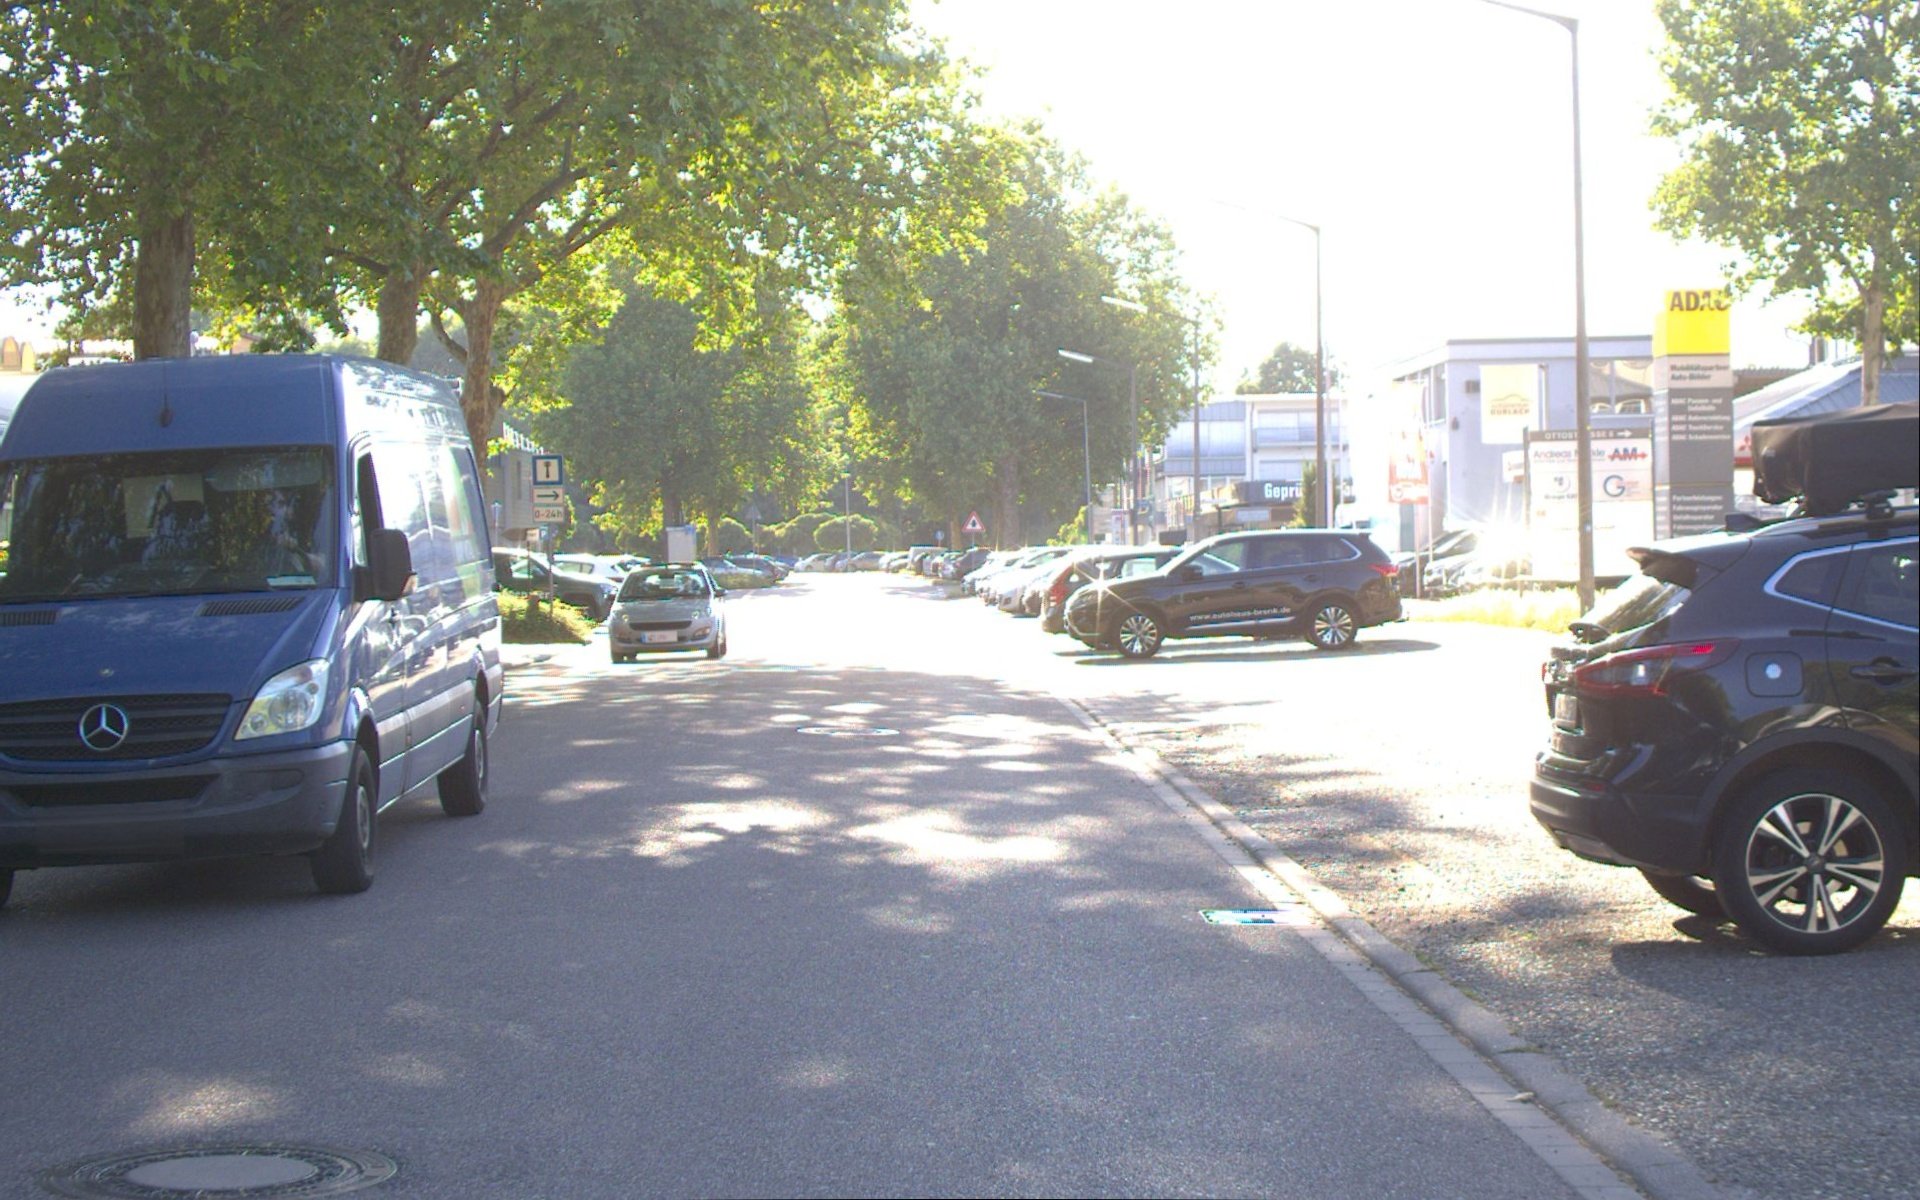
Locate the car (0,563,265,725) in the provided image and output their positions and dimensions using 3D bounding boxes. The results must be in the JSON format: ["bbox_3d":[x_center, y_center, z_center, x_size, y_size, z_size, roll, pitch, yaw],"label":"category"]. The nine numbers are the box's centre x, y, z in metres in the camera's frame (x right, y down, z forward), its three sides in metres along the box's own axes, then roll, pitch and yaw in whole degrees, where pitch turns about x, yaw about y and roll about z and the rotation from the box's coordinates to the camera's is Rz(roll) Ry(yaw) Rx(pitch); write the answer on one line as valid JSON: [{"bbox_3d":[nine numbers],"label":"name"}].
[{"bbox_3d":[-9.204,0.433,33.112,4.599,1.417,2.000,-1,2,-1],"label":"car"}]

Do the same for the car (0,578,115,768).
[{"bbox_3d":[-9.168,0.607,27.493,4.353,1.417,2.000,-1,2,-3],"label":"car"}]

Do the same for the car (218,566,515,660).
[{"bbox_3d":[-9.170,0.189,53.363,4.296,1.441,2.000,0,0,-1],"label":"car"}]

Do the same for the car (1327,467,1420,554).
[{"bbox_3d":[12.726,-2.719,106.109,1.993,2.616,6.138,0,1,-1],"label":"car"}]

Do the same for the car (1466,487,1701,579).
[{"bbox_3d":[13.047,-1.395,72.172,4.495,1.892,2.202,0,0,-1],"label":"car"}]

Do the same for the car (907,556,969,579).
[{"bbox_3d":[-1.452,-2.146,226.799,3.987,1.411,1.827,-2,1,-1],"label":"car"}]

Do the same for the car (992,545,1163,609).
[{"bbox_3d":[3.019,-0.597,88.834,4.241,1.599,1.746,0,1,-5],"label":"car"}]

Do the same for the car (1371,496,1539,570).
[{"bbox_3d":[13.368,-1.806,93.060,4.144,1.765,2.000,-3,1,-1],"label":"car"}]

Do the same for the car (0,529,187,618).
[{"bbox_3d":[-18.672,-0.549,71.586,4.745,1.813,2.000,0,1,-2],"label":"car"}]

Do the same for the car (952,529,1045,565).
[{"bbox_3d":[1.674,-2.330,151.723,3.987,1.411,2.000,-2,1,-1],"label":"car"}]

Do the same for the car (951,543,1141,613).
[{"bbox_3d":[1.863,-0.490,74.356,3.987,1.292,1.784,-3,1,2],"label":"car"}]

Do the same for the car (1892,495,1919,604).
[{"bbox_3d":[15.130,-0.703,47.329,3.986,1.492,2.000,0,1,-5],"label":"car"}]

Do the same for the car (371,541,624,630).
[{"bbox_3d":[-10.069,-0.319,75.166,5.259,1.892,2.202,0,0,-1],"label":"car"}]

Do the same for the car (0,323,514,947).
[{"bbox_3d":[-3.883,0.056,18.364,2.127,2.650,7.002,-2,2,-1],"label":"car"}]

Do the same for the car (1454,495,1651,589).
[{"bbox_3d":[13.141,-1.304,76.422,3.933,1.891,2.202,-1,4,-1],"label":"car"}]

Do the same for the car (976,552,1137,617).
[{"bbox_3d":[2.893,-0.487,103.663,4.554,1.592,2.202,-4,1,-4],"label":"car"}]

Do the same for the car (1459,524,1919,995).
[{"bbox_3d":[4.448,0.427,13.180,4.624,1.521,2.000,-5,1,-2],"label":"car"}]

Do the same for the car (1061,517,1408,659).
[{"bbox_3d":[3.767,-0.175,47.868,4.601,1.574,2.000,-5,1,1],"label":"car"}]

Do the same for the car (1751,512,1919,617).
[{"bbox_3d":[14.536,-0.559,53.336,3.986,1.590,2.000,0,1,-5],"label":"car"}]

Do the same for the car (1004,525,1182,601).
[{"bbox_3d":[3.148,-0.887,82.020,3.986,1.582,1.868,-3,1,-4],"label":"car"}]

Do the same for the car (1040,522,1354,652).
[{"bbox_3d":[3.646,-0.209,53.472,4.600,1.607,2.000,-5,1,-1],"label":"car"}]

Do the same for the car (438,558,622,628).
[{"bbox_3d":[-10.408,-0.169,83.452,4.302,1.650,2.202,0,0,-4],"label":"car"}]

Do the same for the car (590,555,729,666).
[{"bbox_3d":[-4.629,0.130,53.428,1.838,1.565,3.802,-3,1,-1],"label":"car"}]
